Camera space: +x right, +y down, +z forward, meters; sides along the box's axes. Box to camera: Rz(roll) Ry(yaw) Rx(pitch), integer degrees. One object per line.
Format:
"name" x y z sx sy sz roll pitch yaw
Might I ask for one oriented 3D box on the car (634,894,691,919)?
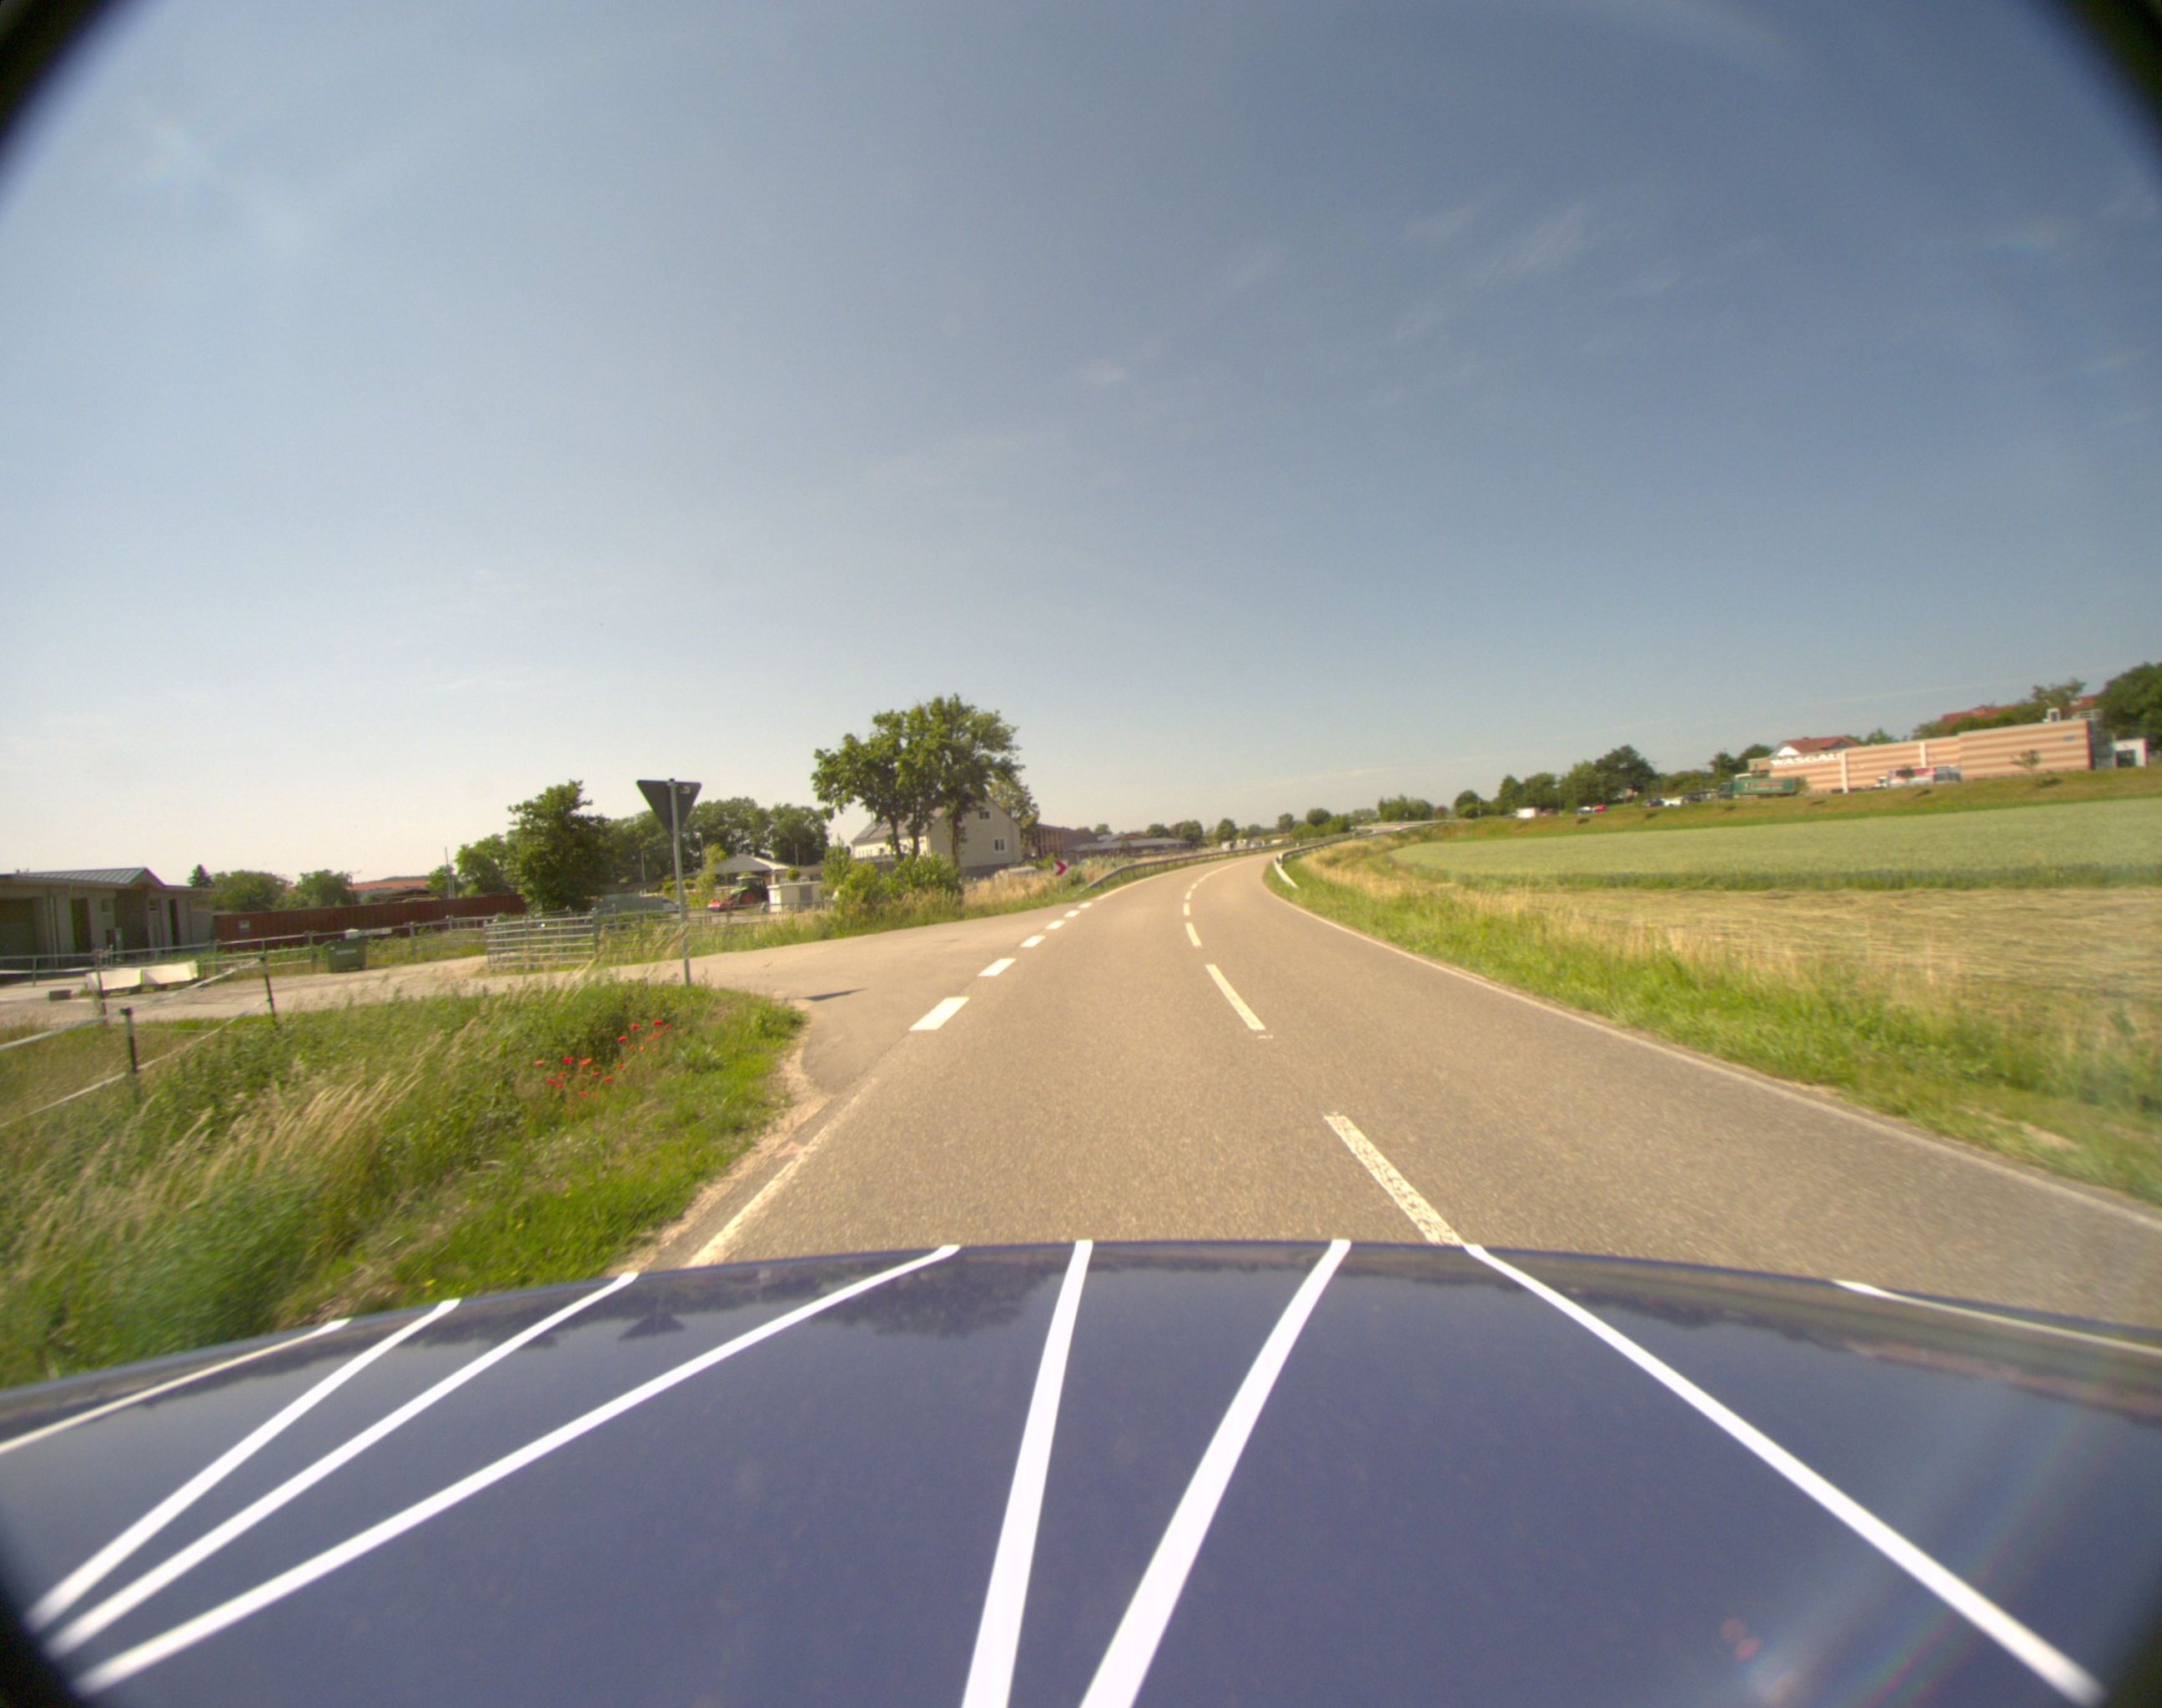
"car" -35.856 4.441 65.130 3.882 1.566 1.995 -7 3 -40

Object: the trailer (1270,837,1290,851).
"trailer" 43.710 -2.155 167.157 2.168 2.789 3.412 -6 1 -39

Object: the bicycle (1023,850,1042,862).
"bicycle" -5.307 0.198 83.824 1.973 1.185 0.713 -5 1 -38

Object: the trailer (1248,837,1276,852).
"trailer" 36.427 -1.902 153.097 2.212 2.672 5.176 -4 0 -36

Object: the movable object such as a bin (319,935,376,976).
"movable object such as a bin" -29.634 4.079 30.699 1.370 1.341 1.519 -4 1 43

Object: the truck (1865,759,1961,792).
"truck" 120.491 -11.294 110.169 2.882 3.544 8.863 -8 2 -34

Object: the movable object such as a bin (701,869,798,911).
"movable object such as a bin" -27.565 2.979 63.389 3.005 2.753 6.516 -6 -1 40

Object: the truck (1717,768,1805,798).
"truck" 108.536 -11.238 121.511 2.881 3.457 9.921 -7 2 -30

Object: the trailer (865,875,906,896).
"trailer" -18.208 2.924 70.708 3.144 1.488 1.712 -7 2 -30

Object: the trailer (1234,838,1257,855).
"trailer" 30.539 -1.336 141.043 2.235 2.848 5.040 -4 0 -11
